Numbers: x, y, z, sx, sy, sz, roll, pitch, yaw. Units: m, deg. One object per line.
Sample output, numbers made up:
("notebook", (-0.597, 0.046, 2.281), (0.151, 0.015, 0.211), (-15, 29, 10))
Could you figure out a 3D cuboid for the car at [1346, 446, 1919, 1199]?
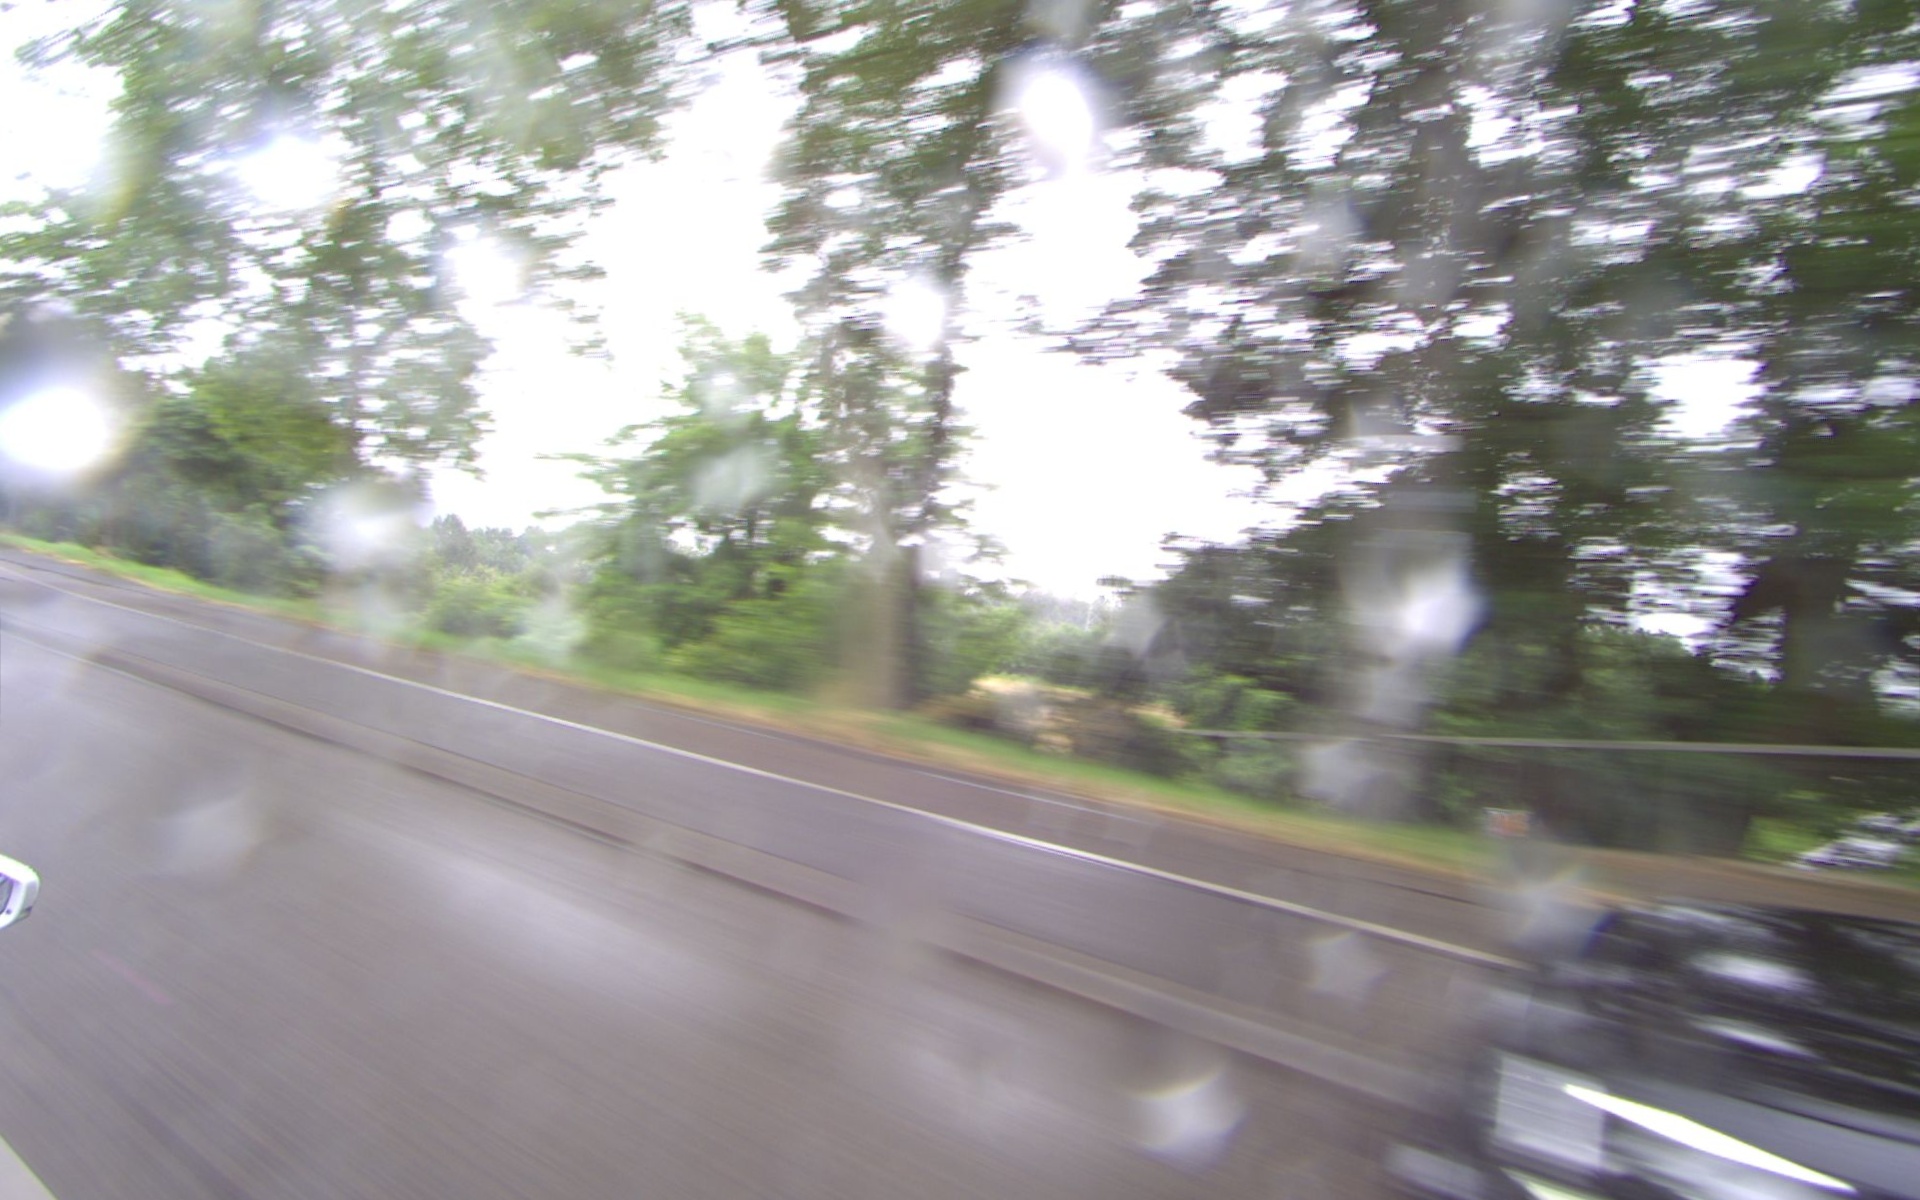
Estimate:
("car", (2.946, 0.995, 0.833), (4.684, 1.722, 1.796), (7, -1, 32))
